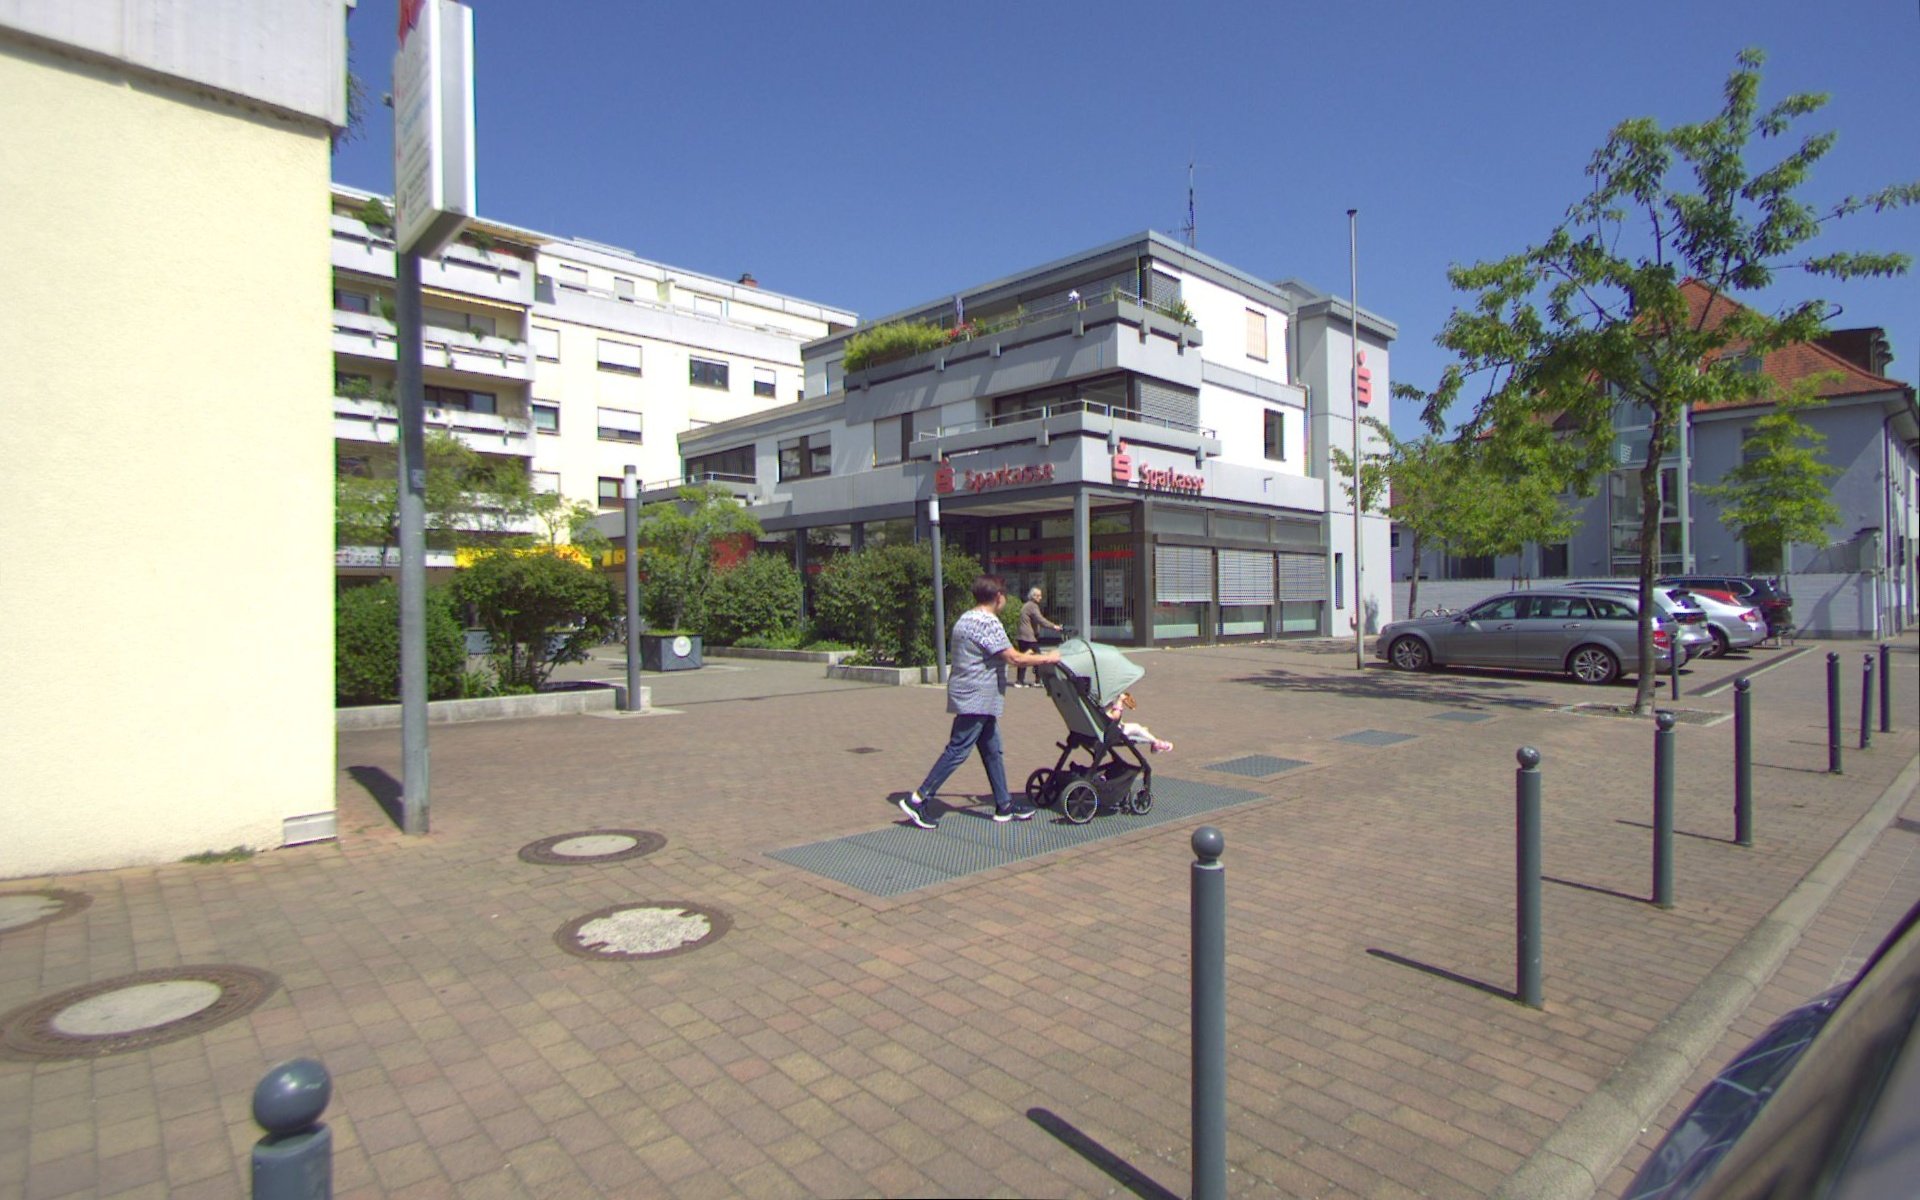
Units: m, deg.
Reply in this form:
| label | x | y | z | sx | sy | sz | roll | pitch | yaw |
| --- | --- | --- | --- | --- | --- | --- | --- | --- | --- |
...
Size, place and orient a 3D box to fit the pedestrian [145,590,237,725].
| label | x | y | z | sx | sy | sz | roll | pitch | yaw |
| --- | --- | --- | --- | --- | --- | --- | --- | --- | --- |
| pedestrian | -9.001 | 0.644 | 11.871 | 0.606 | 1.516 | 0.813 | -1 | 0 | -17 |

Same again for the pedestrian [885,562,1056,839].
| label | x | y | z | sx | sy | sz | roll | pitch | yaw |
| --- | --- | --- | --- | --- | --- | --- | --- | --- | --- |
| pedestrian | 0.049 | 0.552 | 6.111 | 0.785 | 1.540 | 0.707 | -1 | 0 | -26 |

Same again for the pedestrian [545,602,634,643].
| label | x | y | z | sx | sy | sz | roll | pitch | yaw |
| --- | --- | --- | --- | --- | --- | --- | --- | --- | --- |
| pedestrian | -12.695 | 0.748 | 34.757 | 0.982 | 1.290 | 2.736 | -1 | 0 | 40 |

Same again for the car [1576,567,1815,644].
| label | x | y | z | sx | sy | sz | roll | pitch | yaw |
| --- | --- | --- | --- | --- | --- | --- | --- | --- | --- |
| car | 18.723 | 0.077 | 25.915 | 2.112 | 1.793 | 4.635 | 0 | 1 | -43 |

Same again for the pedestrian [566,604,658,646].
| label | x | y | z | sx | sy | sz | roll | pitch | yaw |
| --- | --- | --- | --- | --- | --- | --- | --- | --- | --- |
| pedestrian | -11.339 | 0.788 | 33.066 | 0.982 | 1.290 | 2.736 | -1 | 0 | 40 |

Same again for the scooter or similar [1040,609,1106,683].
| label | x | y | z | sx | sy | sz | roll | pitch | yaw |
| --- | --- | --- | --- | --- | --- | --- | --- | --- | --- |
| scooter or similar | 1.730 | 0.691 | 15.506 | 0.790 | 1.088 | 0.591 | 0 | -1 | -34 |

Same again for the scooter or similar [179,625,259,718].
| label | x | y | z | sx | sy | sz | roll | pitch | yaw |
| --- | --- | --- | --- | --- | --- | --- | --- | --- | --- |
| scooter or similar | -9.239 | 0.869 | 12.643 | 0.578 | 1.088 | 0.807 | -1 | 0 | -17 |

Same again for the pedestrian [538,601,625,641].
| label | x | y | z | sx | sy | sz | roll | pitch | yaw |
| --- | --- | --- | --- | --- | --- | --- | --- | --- | --- |
| pedestrian | -13.212 | 0.717 | 35.431 | 0.982 | 1.290 | 2.736 | -1 | 0 | 40 |

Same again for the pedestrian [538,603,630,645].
| label | x | y | z | sx | sy | sz | roll | pitch | yaw |
| --- | --- | --- | --- | --- | --- | --- | --- | --- | --- |
| pedestrian | -12.445 | 0.780 | 33.579 | 0.982 | 1.290 | 2.736 | -1 | 0 | 40 |

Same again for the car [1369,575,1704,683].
| label | x | y | z | sx | sy | sz | roll | pitch | yaw |
| --- | --- | --- | --- | --- | --- | --- | --- | --- | --- |
| car | 9.523 | 0.367 | 16.972 | 4.575 | 1.531 | 1.887 | 2 | 2 | 43 |

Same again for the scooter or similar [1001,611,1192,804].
| label | x | y | z | sx | sy | sz | roll | pitch | yaw |
| --- | --- | --- | --- | --- | --- | --- | --- | --- | --- |
| scooter or similar | 0.868 | 0.643 | 6.492 | 1.022 | 1.120 | 0.629 | -1 | 0 | -25 |

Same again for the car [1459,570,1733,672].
| label | x | y | z | sx | sy | sz | roll | pitch | yaw |
| --- | --- | --- | --- | --- | --- | --- | --- | --- | --- |
| car | 11.754 | 0.290 | 18.868 | 1.827 | 1.592 | 3.990 | 0 | 3 | -45 |

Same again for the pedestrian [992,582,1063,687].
| label | x | y | z | sx | sy | sz | roll | pitch | yaw |
| --- | --- | --- | --- | --- | --- | --- | --- | --- | --- |
| pedestrian | 1.013 | 0.504 | 15.192 | 0.795 | 1.516 | 0.669 | 0 | -1 | -33 |
